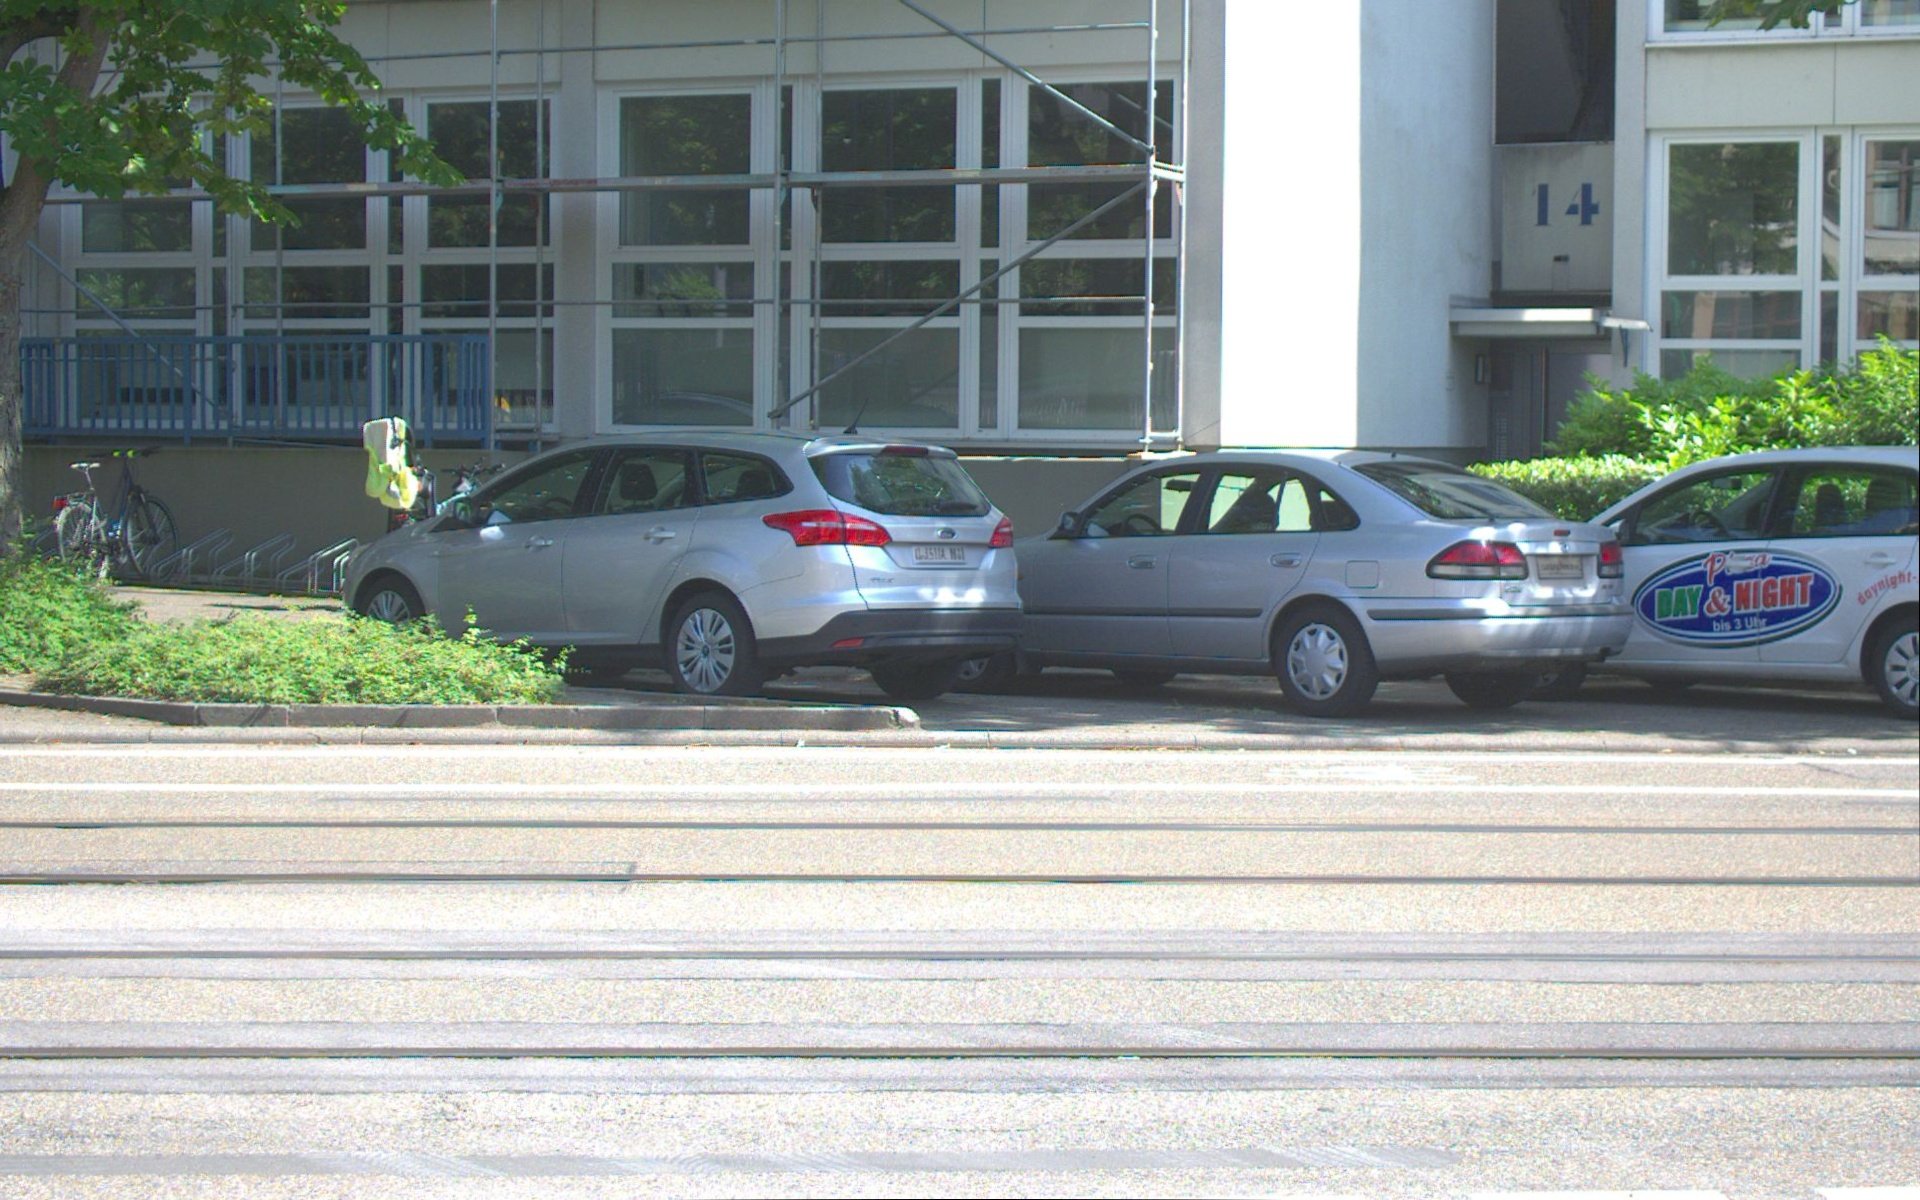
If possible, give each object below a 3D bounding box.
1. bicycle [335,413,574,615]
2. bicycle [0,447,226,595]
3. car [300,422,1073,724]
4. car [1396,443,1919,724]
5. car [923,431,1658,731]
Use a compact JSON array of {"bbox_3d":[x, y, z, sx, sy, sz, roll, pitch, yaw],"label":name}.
[{"bbox_3d":[-3.783,-0.668,25.893,0.662,1.448,2.087,2,3,28],"label":"bicycle"},{"bbox_3d":[-6.557,-0.636,26.693,0.741,1.082,2.202,1,3,15],"label":"bicycle"},{"bbox_3d":[-1.642,-0.237,19.436,4.432,1.481,1.780,3,4,42],"label":"car"},{"bbox_3d":[4.582,-0.146,19.675,3.942,1.481,1.609,2,3,43],"label":"car"},{"bbox_3d":[1.770,-0.185,19.308,3.943,1.481,1.609,3,4,44],"label":"car"}]
